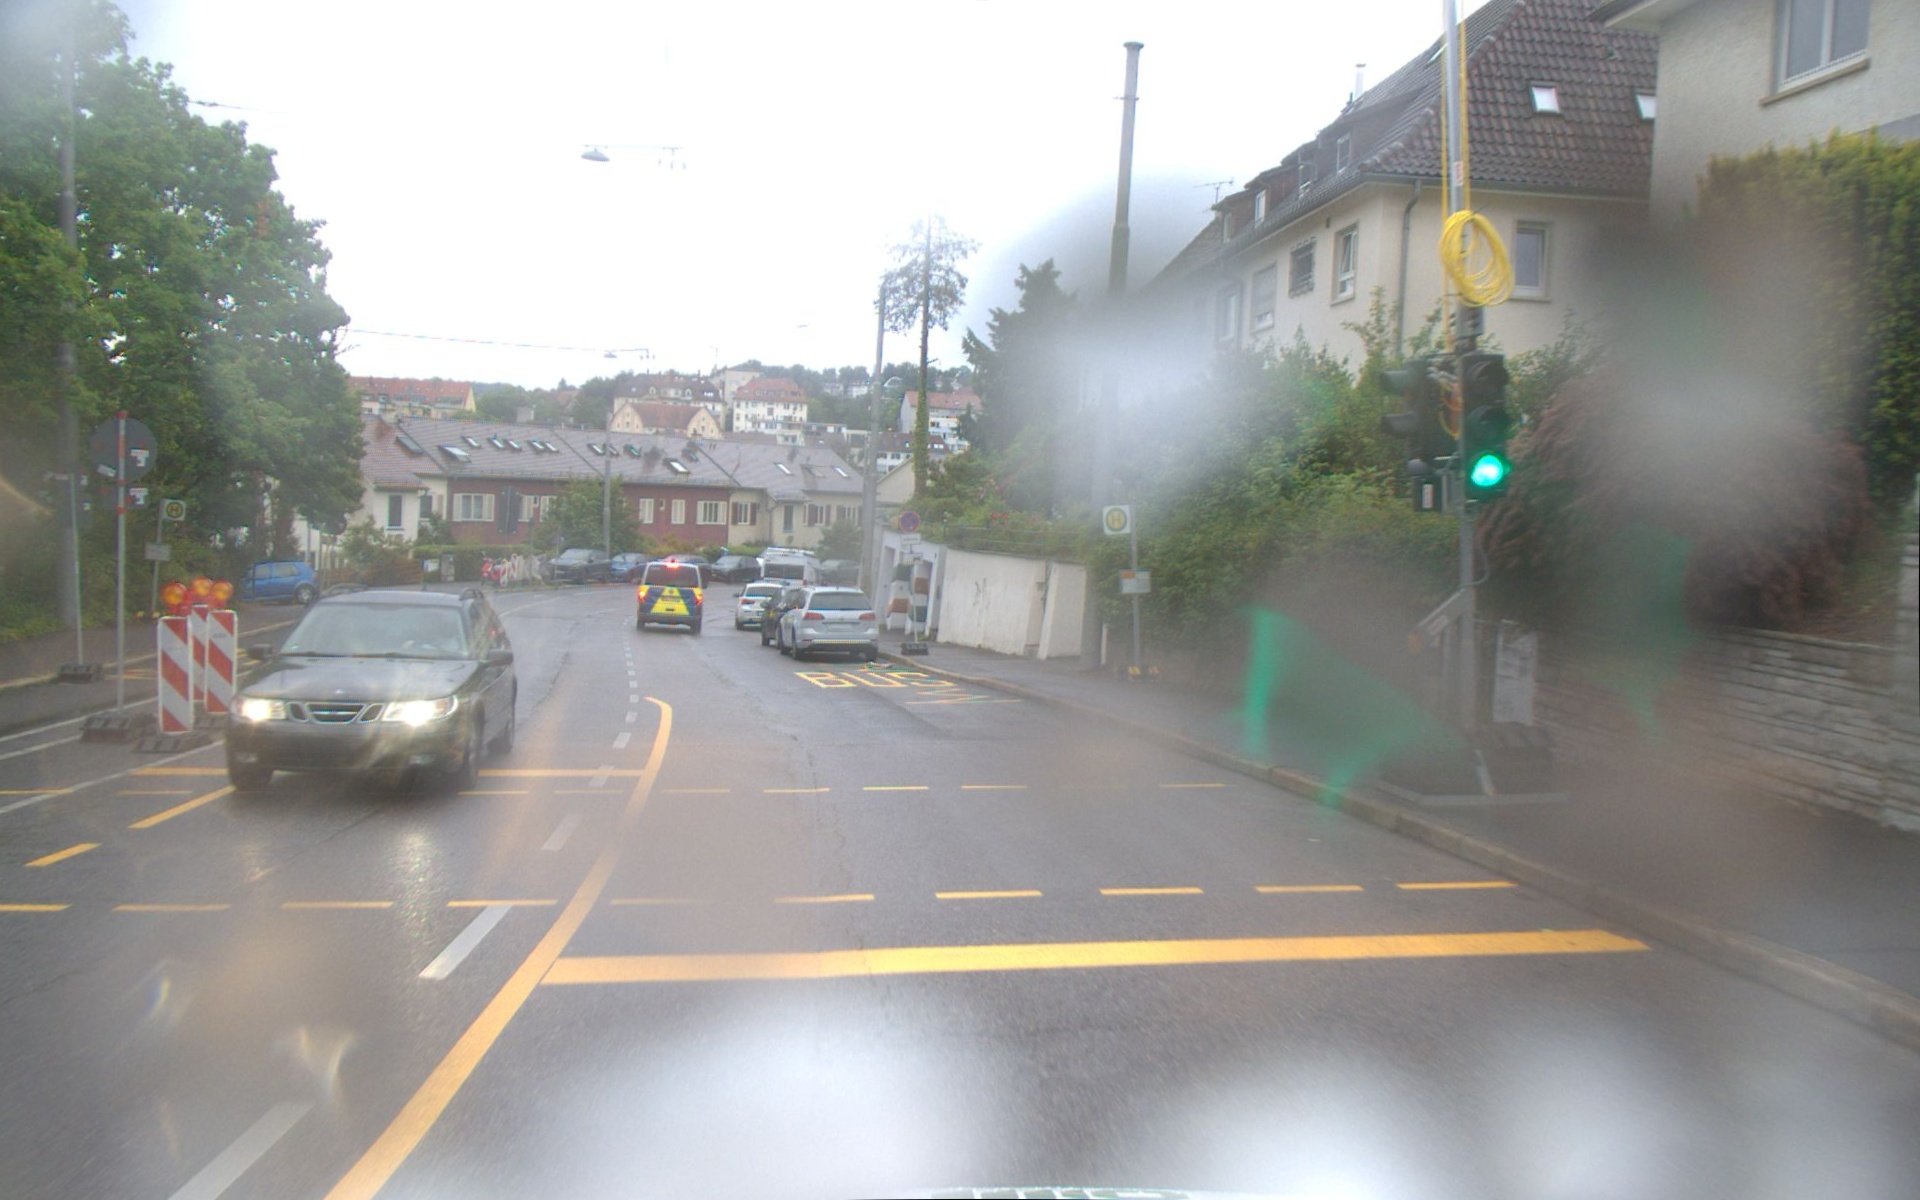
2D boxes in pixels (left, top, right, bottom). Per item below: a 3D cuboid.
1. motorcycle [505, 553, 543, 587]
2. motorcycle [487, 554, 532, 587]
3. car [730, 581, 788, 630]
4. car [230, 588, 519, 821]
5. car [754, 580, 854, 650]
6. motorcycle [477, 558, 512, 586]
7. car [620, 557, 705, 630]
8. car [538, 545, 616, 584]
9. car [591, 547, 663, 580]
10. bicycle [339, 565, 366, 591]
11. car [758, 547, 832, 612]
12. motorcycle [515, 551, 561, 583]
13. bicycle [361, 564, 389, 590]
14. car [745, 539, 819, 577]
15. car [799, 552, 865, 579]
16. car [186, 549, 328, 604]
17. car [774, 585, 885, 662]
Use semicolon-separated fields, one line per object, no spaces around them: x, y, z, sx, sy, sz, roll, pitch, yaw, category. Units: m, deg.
-19.306;-1.347;73.195;1.774;1.325;0.610;7;4;38;motorcycle
-19.678;-1.301;72.238;1.763;1.301;0.512;4;3;9;motorcycle
-6.496;0.150;53.089;1.674;1.439;4.033;1;1;-9;car
-4.579;0.685;13.551;1.669;1.486;4.669;0;1;-13;car
-3.762;0.322;39.382;1.686;1.539;3.984;1;1;-15;car
-19.836;-1.194;70.547;0.499;1.159;1.924;2;3;16;motorcycle
-8.677;-0.251;48.001;2.268;1.973;4.313;-1;2;-12;car
-18.253;-1.710;78.958;1.881;1.603;4.392;6;3;11;car
-16.870;-1.862;84.005;1.664;1.428;4.477;6;4;15;car
-26.096;-0.949;71.067;1.298;1.053;0.305;-1;-2;29;bicycle
-6.998;-0.891;70.662;2.054;2.586;5.624;2;1;5;car
-19.085;-1.510;74.754;1.874;1.292;0.572;4;3;-22;motorcycle
-24.898;-0.979;70.378;1.274;1.053;0.305;-1;-2;27;bicycle
-10.660;-2.512;99.667;1.814;2.114;5.014;6;3;28;car
-8.057;-2.164;104.849;1.776;1.501;4.511;6;3;32;car
-23.264;-0.768;54.811;1.809;1.695;3.919;2;0;41;car
-2.796;0.441;34.596;1.750;1.445;4.417;0;1;-12;car
